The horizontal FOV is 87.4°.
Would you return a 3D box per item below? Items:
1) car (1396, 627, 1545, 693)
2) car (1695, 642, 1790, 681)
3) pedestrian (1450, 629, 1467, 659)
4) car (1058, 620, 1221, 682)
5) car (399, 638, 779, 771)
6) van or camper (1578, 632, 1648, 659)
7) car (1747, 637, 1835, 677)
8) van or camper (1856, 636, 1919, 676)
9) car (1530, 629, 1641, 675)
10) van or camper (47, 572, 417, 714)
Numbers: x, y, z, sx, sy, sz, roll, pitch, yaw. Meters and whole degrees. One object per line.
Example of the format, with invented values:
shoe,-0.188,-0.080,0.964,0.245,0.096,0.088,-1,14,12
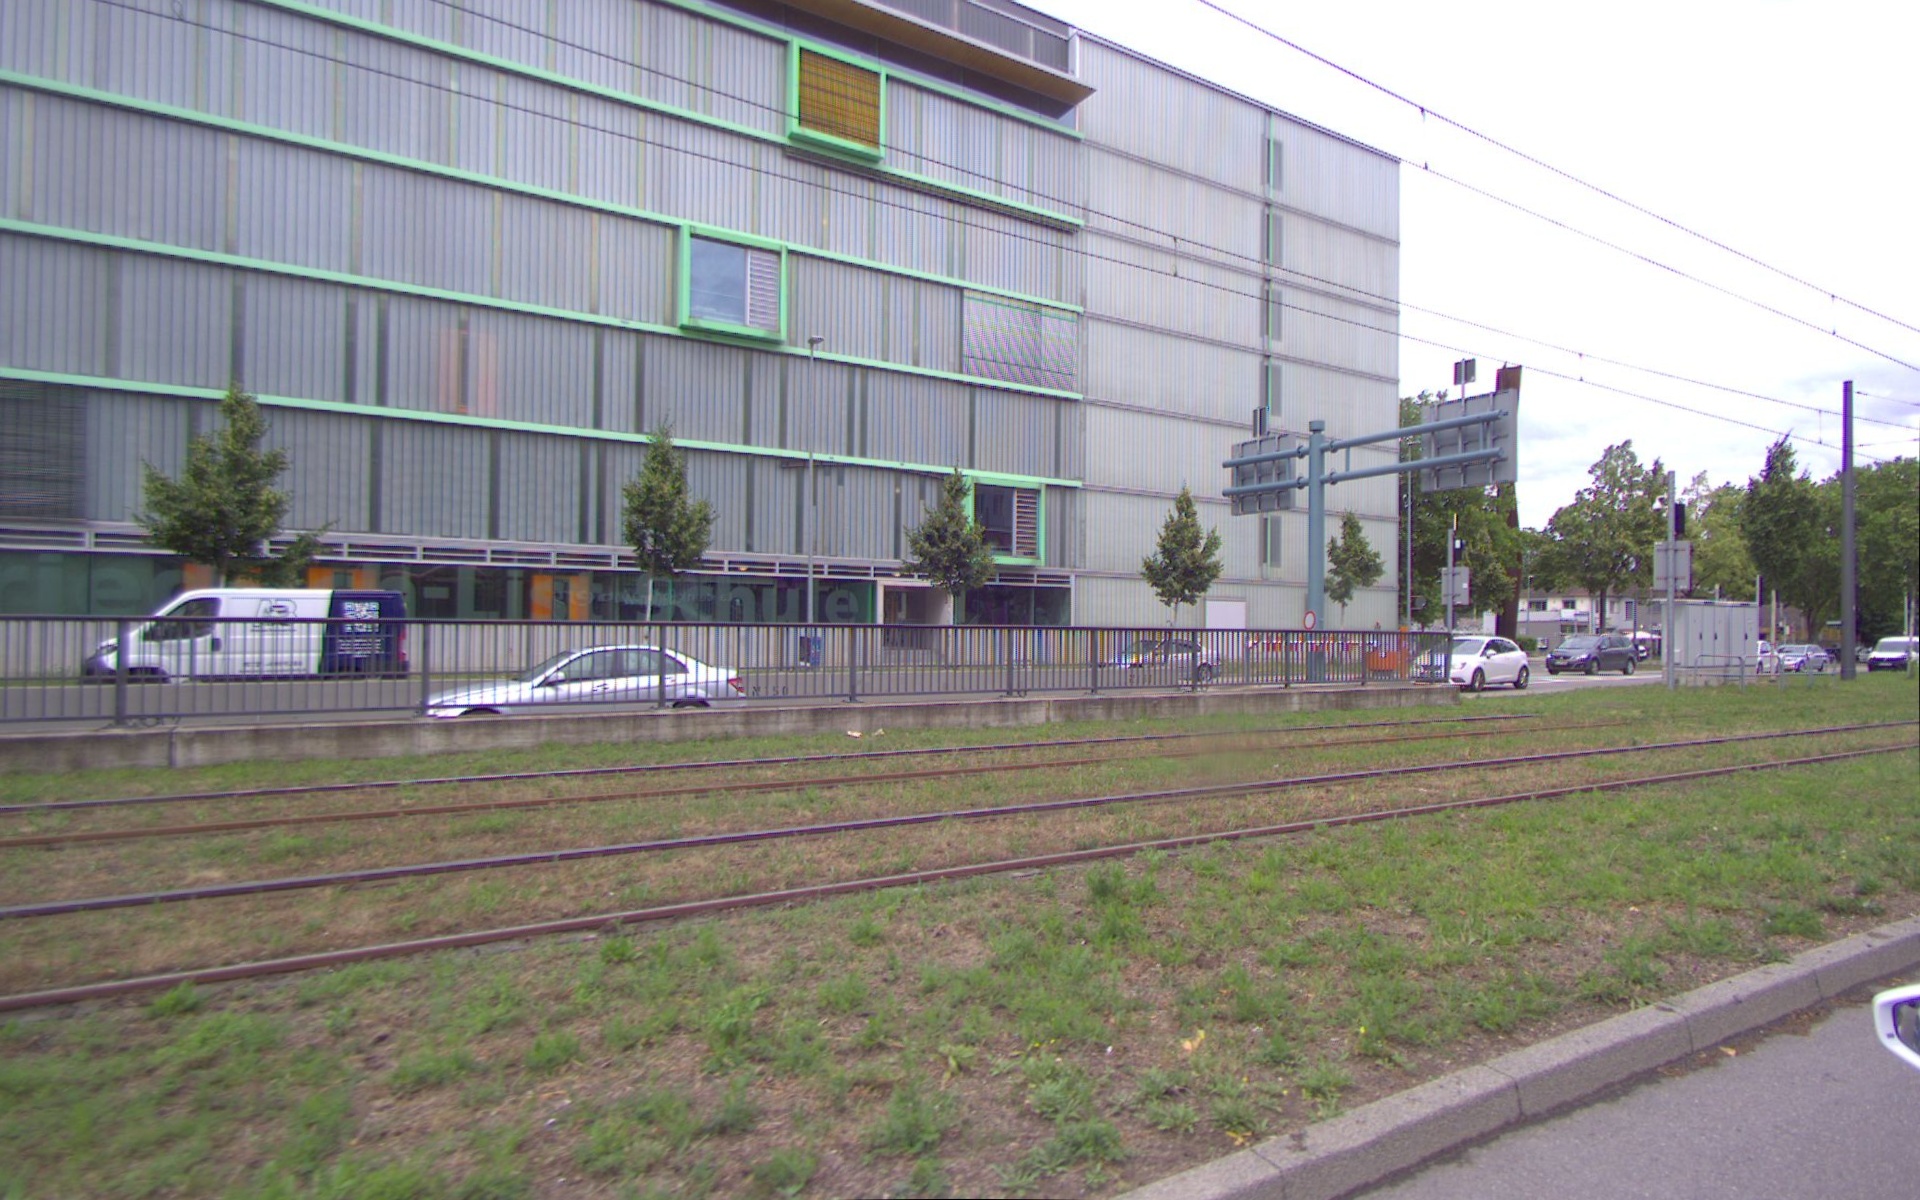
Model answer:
car,13.745,1.544,26.974,4.341,1.607,1.978,1,-2,-39
car,31.558,2.432,40.489,4.526,1.498,1.751,2,-3,-35
pedestrian,35.138,3.102,70.821,0.887,2.040,0.954,0,-1,18
car,5.371,1.482,29.862,4.592,1.688,1.984,2,-1,-30
car,-5.246,1.375,14.494,4.916,1.535,1.772,0,-1,-32
van or camper,53.090,3.665,81.793,2.416,2.040,5.283,1,-1,2
car,44.458,3.004,53.690,5.233,2.040,1.984,2,-1,-30
van or camper,47.934,2.837,51.312,5.068,1.925,1.879,2,-3,-32
car,26.760,2.204,42.940,4.909,1.848,1.984,2,-1,-30
van or camper,-13.168,0.767,18.719,5.297,2.317,2.162,1,-1,-31
